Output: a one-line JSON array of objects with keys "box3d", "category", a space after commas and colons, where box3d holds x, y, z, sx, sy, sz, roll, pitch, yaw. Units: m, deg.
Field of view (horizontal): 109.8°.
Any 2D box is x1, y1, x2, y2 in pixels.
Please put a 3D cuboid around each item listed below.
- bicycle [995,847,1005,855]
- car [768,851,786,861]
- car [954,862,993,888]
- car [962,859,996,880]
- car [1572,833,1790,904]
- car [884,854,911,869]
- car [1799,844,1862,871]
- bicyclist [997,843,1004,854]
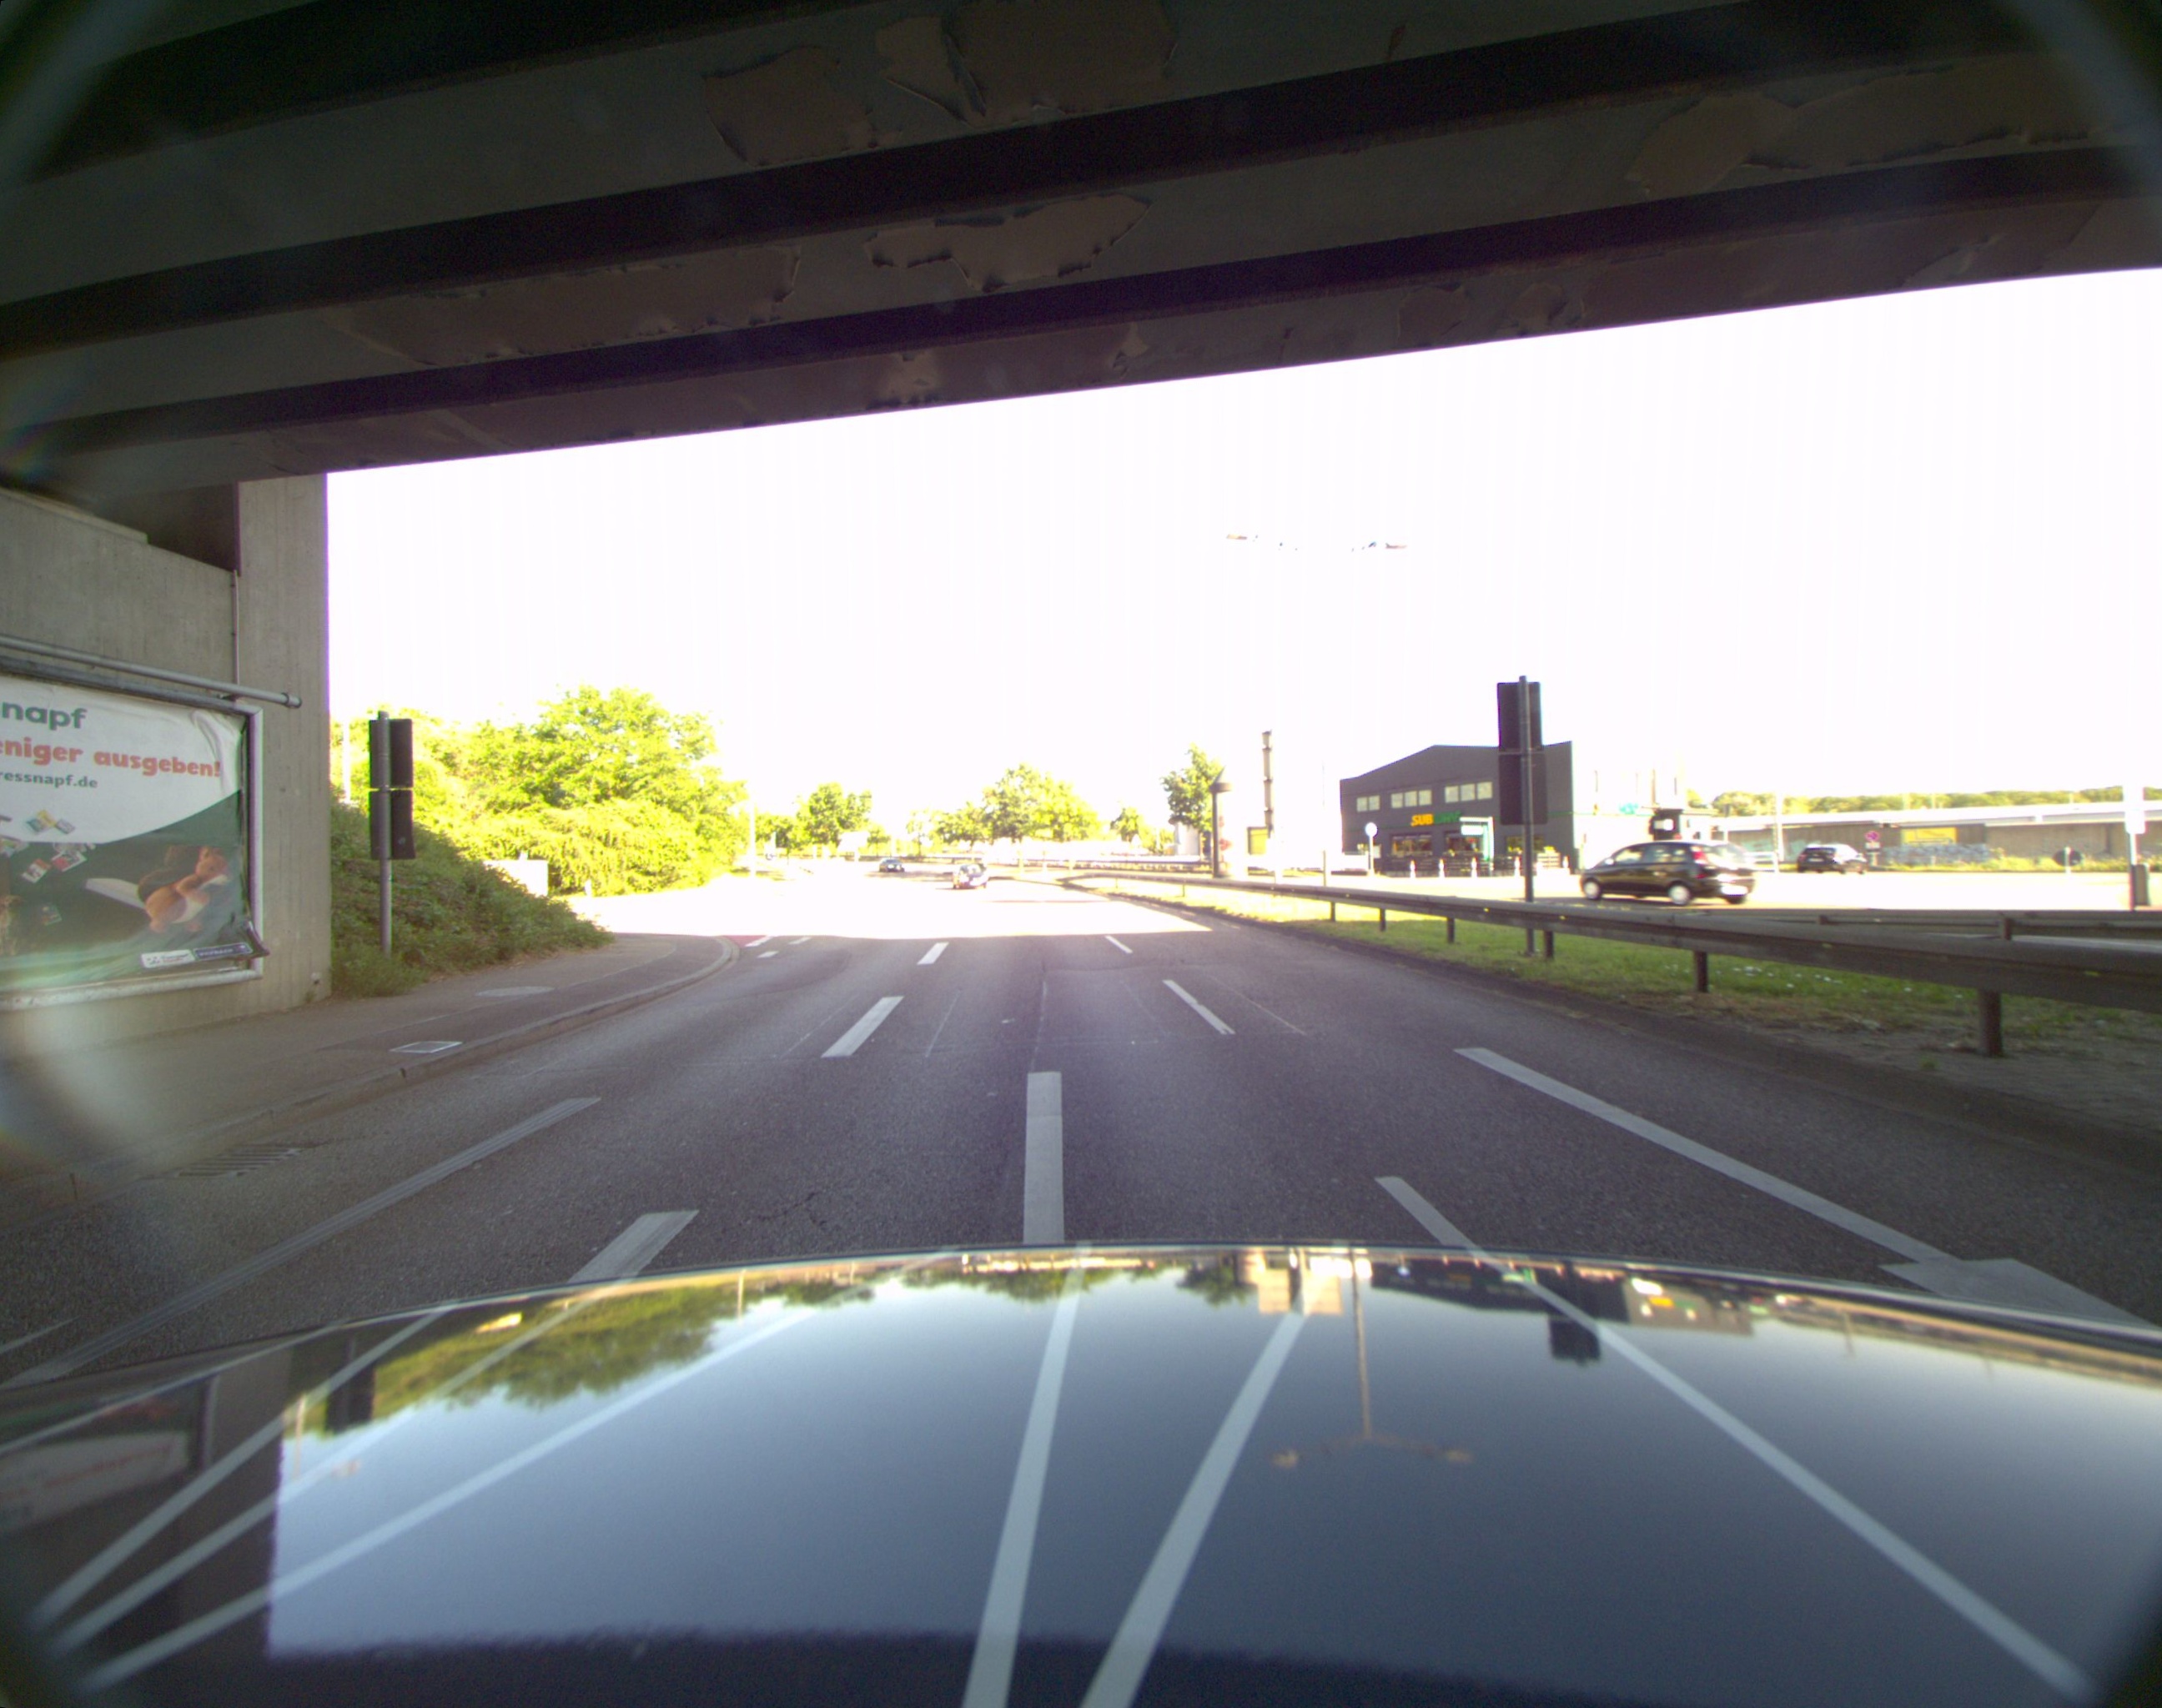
[{"box3d": [-10.238, -0.396, 96.388, 0.594, 1.017, 1.746, -3, 1, -28], "category": "bicycle"}, {"box3d": [-49.119, 0.260, 122.621, 1.853, 1.473, 3.972, -1, -2, -35], "category": "car"}, {"box3d": [-6.446, 1.250, 45.243, 1.740, 1.411, 4.314, -1, -2, -15], "category": "car"}, {"box3d": [-7.431, 1.085, 55.133, 1.851, 1.412, 3.975, -2, 1, -17], "category": "car"}, {"box3d": [14.998, 0.347, 19.346, 1.831, 1.578, 4.179, -1, 0, -11], "category": "car"}, {"box3d": [-19.658, 0.818, 81.148, 1.860, 1.471, 4.221, -2, 0, -27], "category": "car"}, {"box3d": [38.433, 0.186, 38.953, 4.191, 1.274, 1.825, 1, 0, -39], "category": "car"}, {"box3d": [-10.257, -0.729, 96.390, 0.594, 1.419, 0.707, -3, 1, -28], "category": "bicyclist"}]
